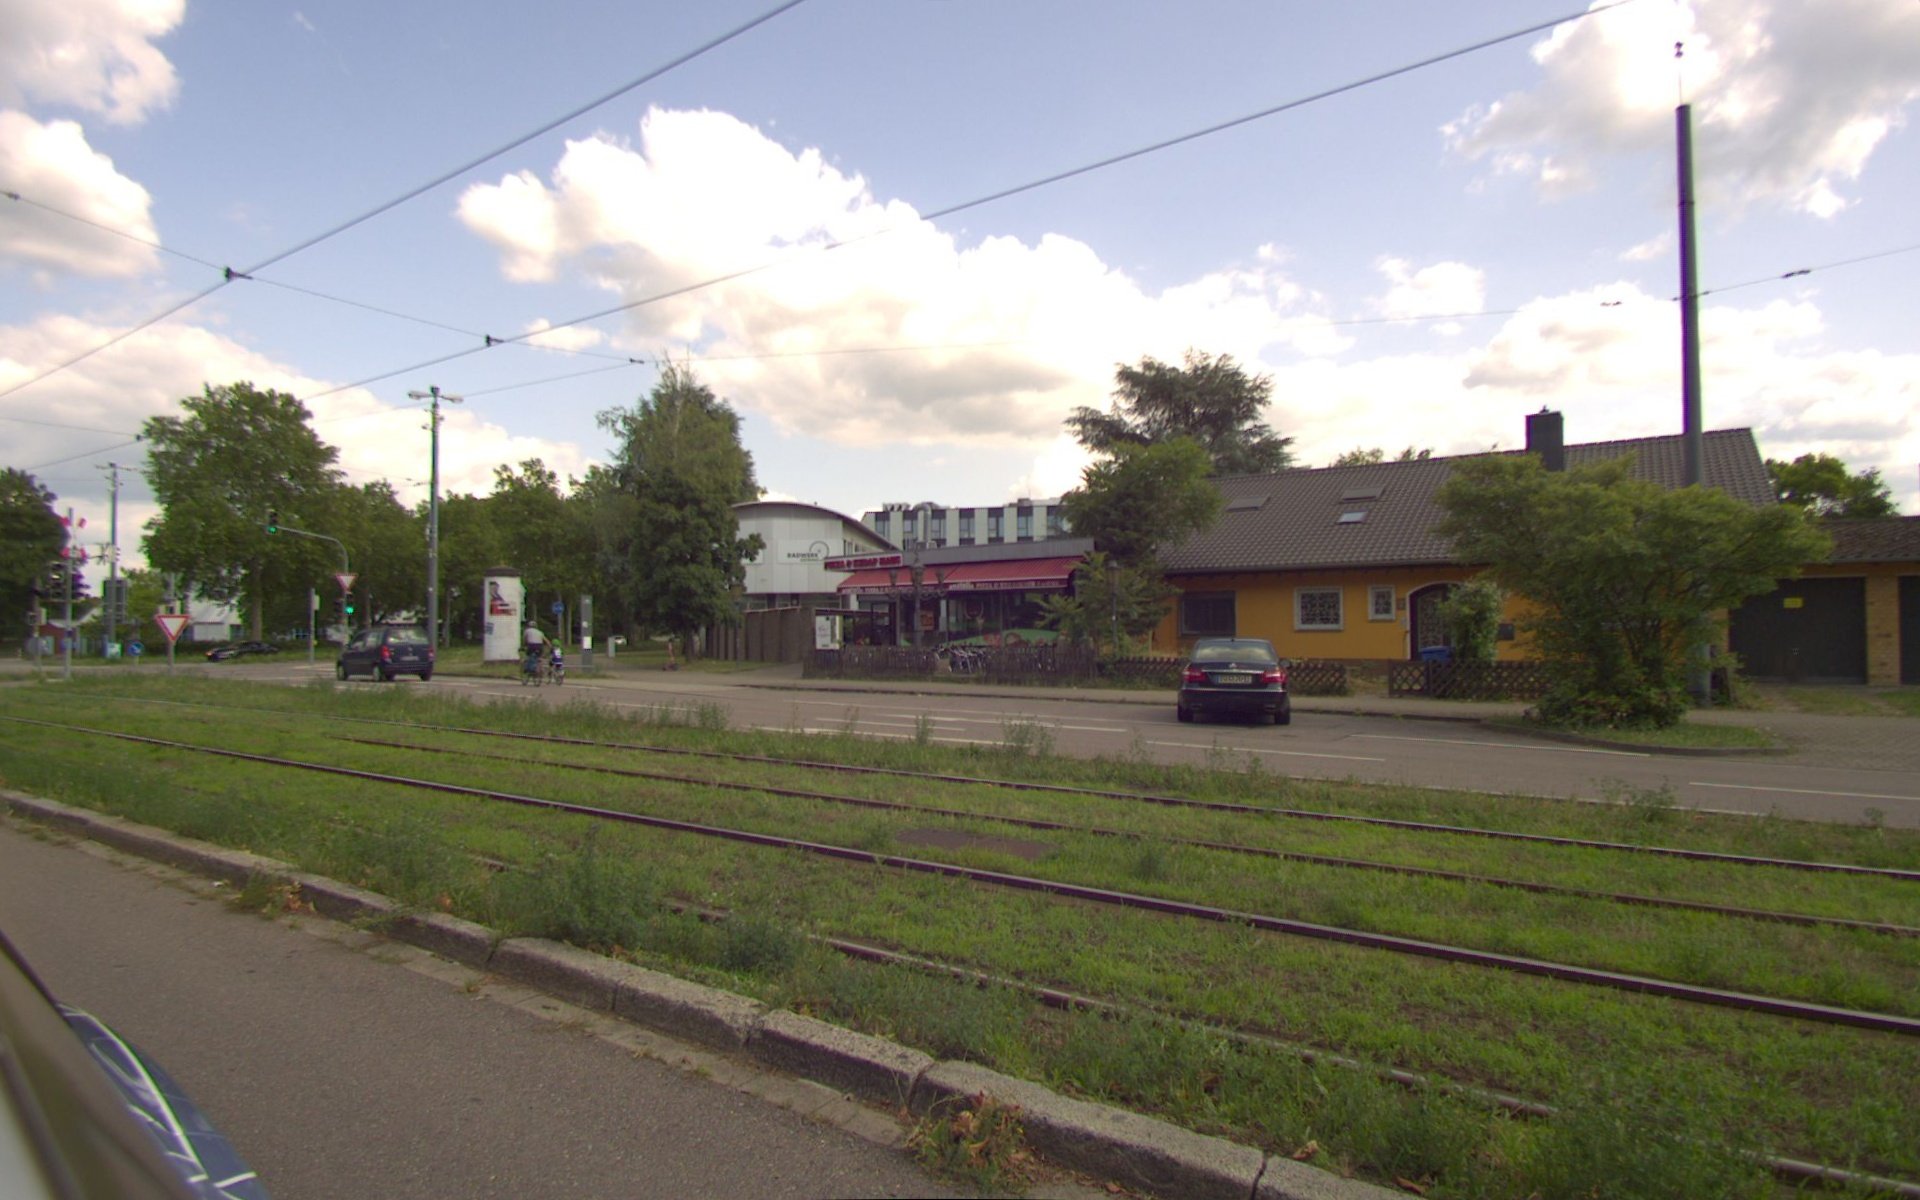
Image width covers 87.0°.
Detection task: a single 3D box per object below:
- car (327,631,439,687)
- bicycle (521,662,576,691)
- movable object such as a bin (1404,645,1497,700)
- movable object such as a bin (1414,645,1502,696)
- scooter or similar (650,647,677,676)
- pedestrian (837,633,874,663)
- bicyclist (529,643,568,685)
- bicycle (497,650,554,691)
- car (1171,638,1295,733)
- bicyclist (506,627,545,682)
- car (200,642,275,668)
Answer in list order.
[{"bbox_3d":[-17.825,1.763,31.231,3.490,1.639,1.762,-1,-2,37],"label":"car"},{"bbox_3d":[-11.469,2.117,28.178,1.803,0.723,0.639,-2,-3,39],"label":"bicycle"},{"bbox_3d":[10.476,1.526,21.619,1.614,1.109,1.244,-2,-2,34],"label":"movable object such as a bin"},{"bbox_3d":[11.242,1.568,22.856,1.614,1.101,1.244,-2,-2,34],"label":"movable object such as a bin"},{"bbox_3d":[-11.146,2.294,38.030,0.421,1.041,1.224,1,-3,-44],"label":"scooter or similar"},{"bbox_3d":[-4.099,1.889,39.784,0.930,1.155,1.142,-2,-3,36],"label":"pedestrian"},{"bbox_3d":[-11.459,1.775,28.179,0.927,1.121,0.633,-2,-3,39],"label":"bicyclist"},{"bbox_3d":[-11.862,1.904,27.621,1.802,1.088,0.639,-2,-3,38],"label":"bicycle"},{"bbox_3d":[4.858,1.409,18.075,1.866,1.418,4.628,1,-2,15],"label":"car"},{"bbox_3d":[-11.873,1.478,27.653,0.927,1.468,0.617,-2,-3,38],"label":"bicyclist"},{"bbox_3d":[-44.234,3.360,62.071,1.677,1.535,3.853,0,-2,3],"label":"car"}]
